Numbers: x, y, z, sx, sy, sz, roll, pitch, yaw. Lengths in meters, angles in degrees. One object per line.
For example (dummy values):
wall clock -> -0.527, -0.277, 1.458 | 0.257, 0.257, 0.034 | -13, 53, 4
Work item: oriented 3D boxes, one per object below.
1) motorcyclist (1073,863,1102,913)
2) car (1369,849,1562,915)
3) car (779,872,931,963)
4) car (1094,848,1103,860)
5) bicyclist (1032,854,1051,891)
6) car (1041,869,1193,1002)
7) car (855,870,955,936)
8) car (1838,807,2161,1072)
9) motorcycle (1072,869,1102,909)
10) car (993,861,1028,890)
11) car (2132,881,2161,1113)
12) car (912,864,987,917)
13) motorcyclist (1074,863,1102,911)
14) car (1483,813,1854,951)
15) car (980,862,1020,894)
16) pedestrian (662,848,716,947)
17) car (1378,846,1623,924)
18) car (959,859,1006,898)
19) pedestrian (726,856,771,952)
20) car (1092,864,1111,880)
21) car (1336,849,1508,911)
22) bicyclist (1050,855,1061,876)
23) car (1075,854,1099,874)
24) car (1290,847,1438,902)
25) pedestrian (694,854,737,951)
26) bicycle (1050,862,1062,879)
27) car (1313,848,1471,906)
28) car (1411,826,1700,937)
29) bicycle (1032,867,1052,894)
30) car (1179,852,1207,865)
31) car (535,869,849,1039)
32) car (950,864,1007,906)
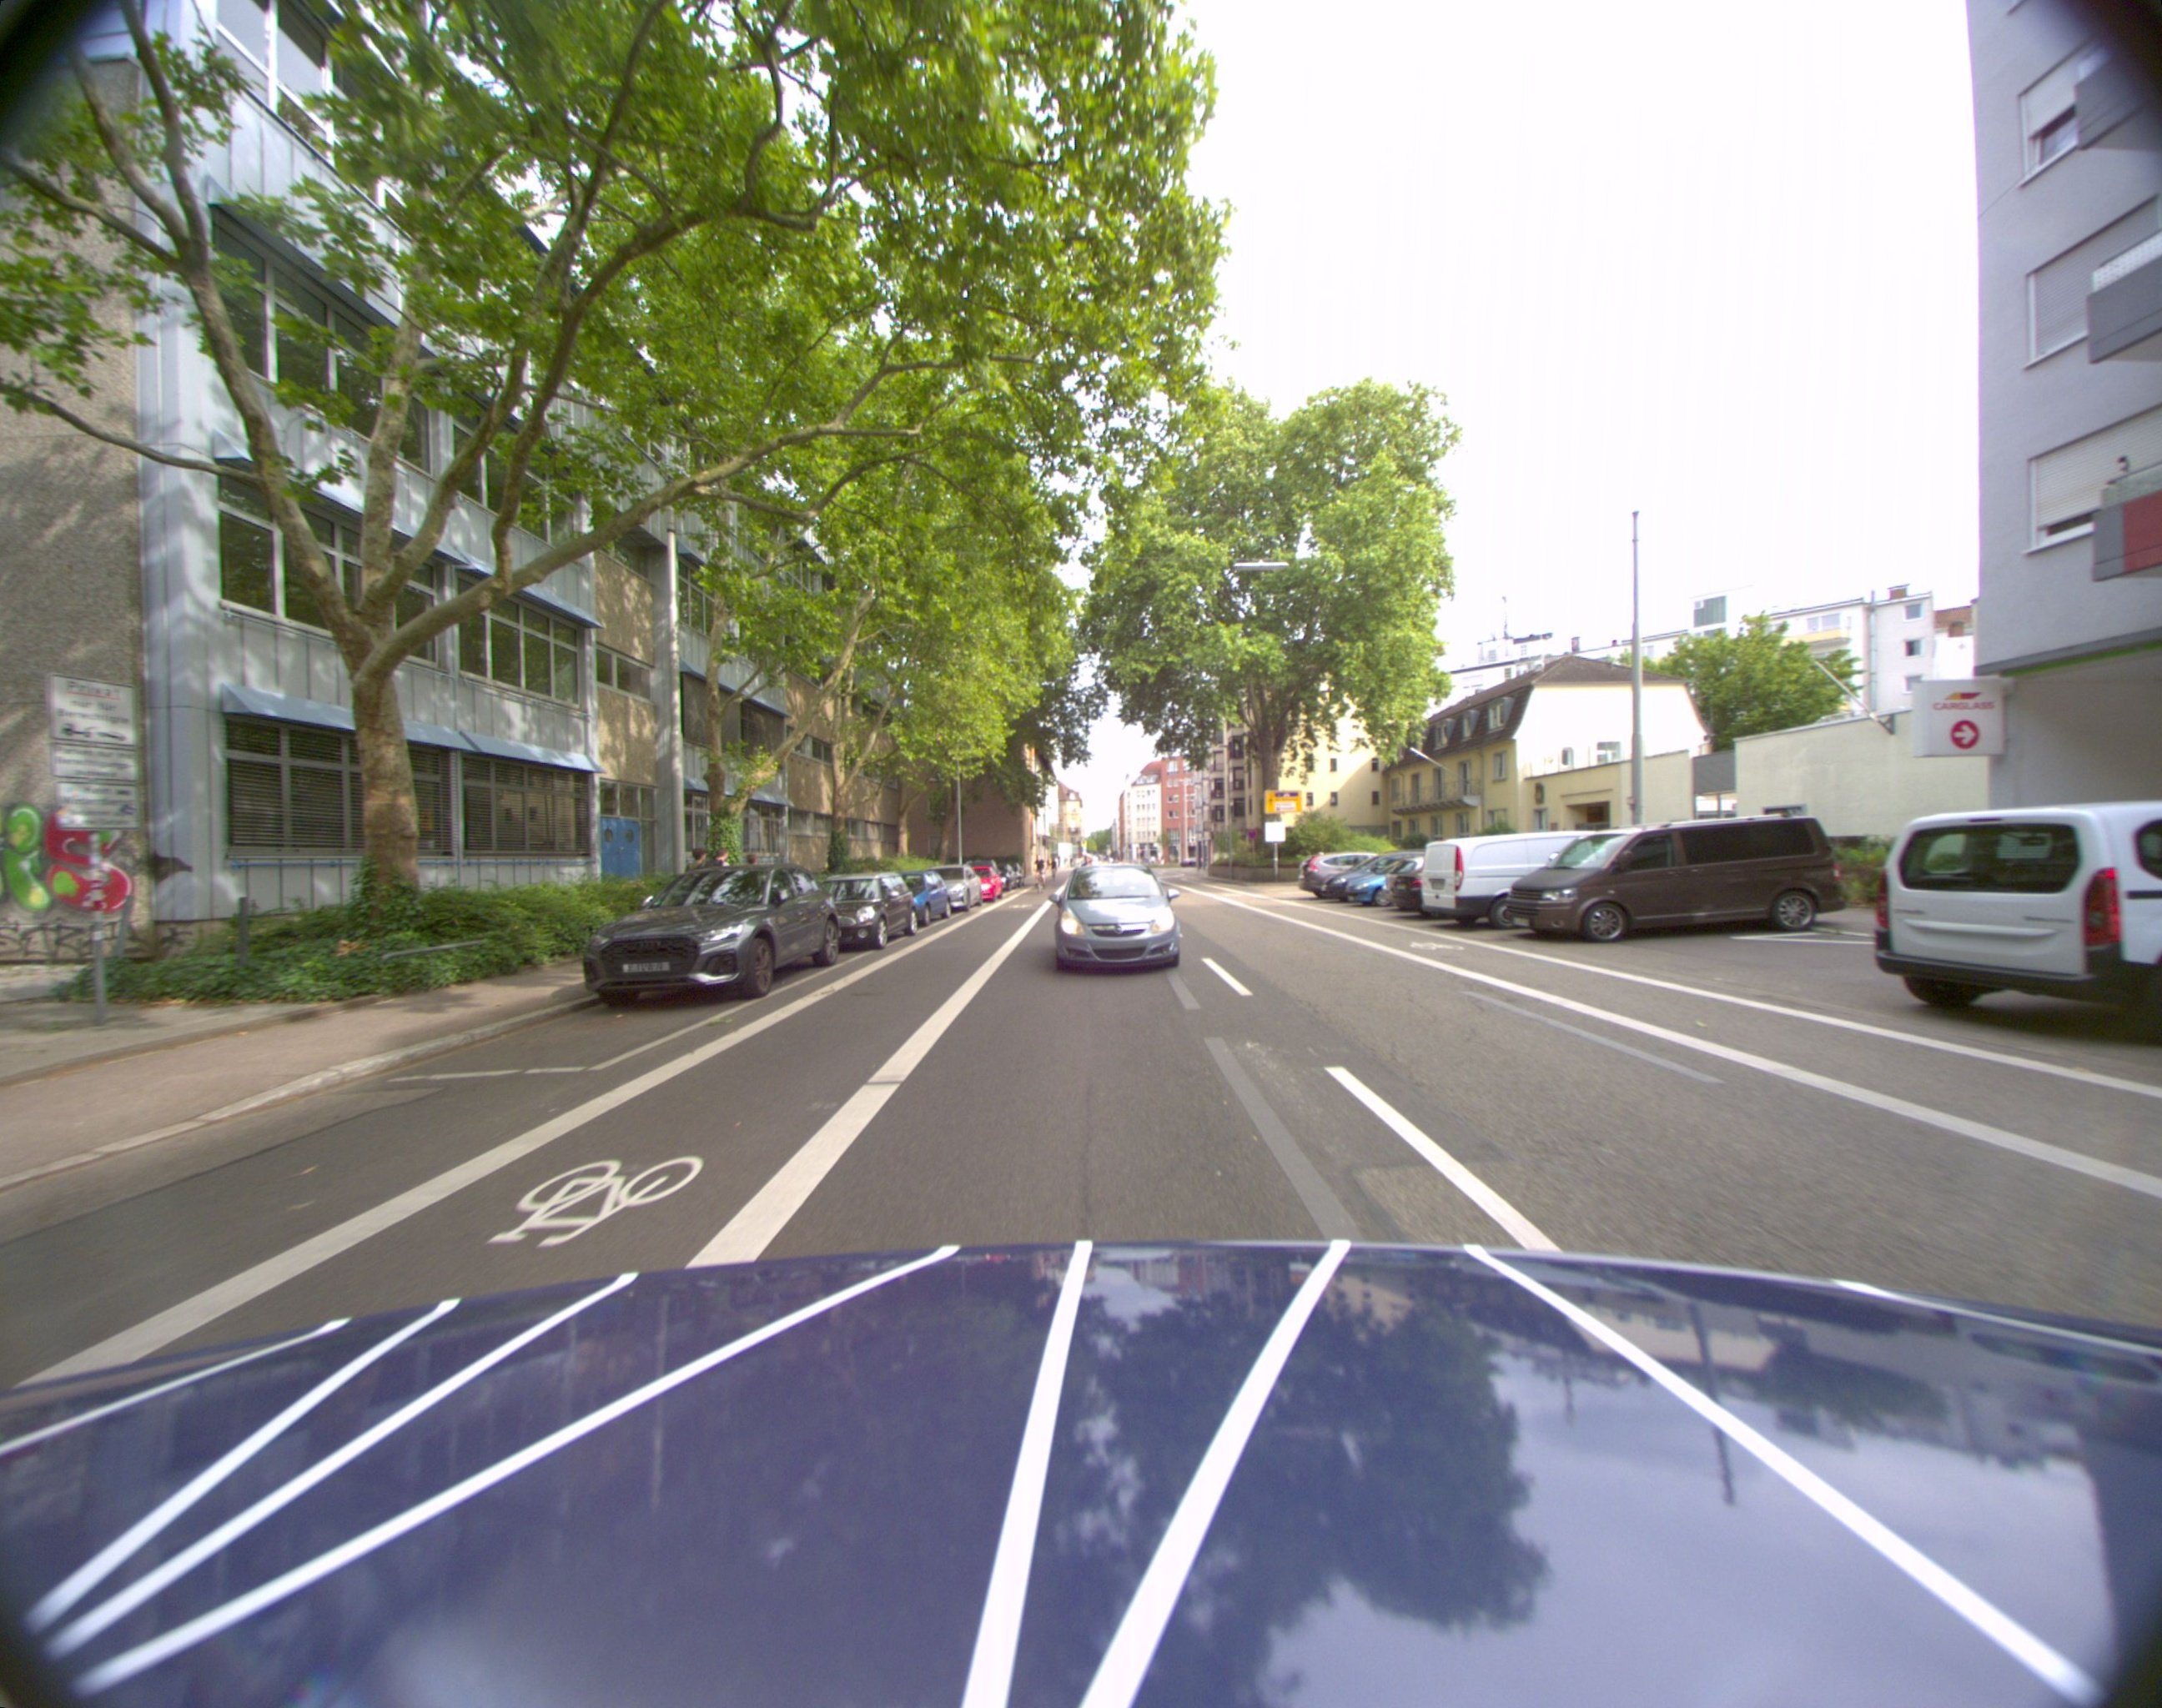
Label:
motorcyclist -> 0.217, 1.117, 25.126 | 0.904, 1.608, 0.691 | -1, 1, 0
car -> 10.196, 0.724, 20.373 | 4.203, 1.443, 1.719 | -4, 0, 2
car -> -4.445, 1.183, 15.725 | 1.643, 1.424, 4.573 | -3, 0, 1
car -> 4.062, 0.049, 175.117 | 1.998, 2.546, 4.799 | -2, 0, 1
bicyclist -> -1.861, 0.885, 36.110 | 0.764, 1.698, 0.917 | -2, 0, 1
car -> 0.446, 0.982, 10.916 | 1.716, 1.412, 4.253 | -2, 0, 1
car -> -4.547, 1.215, 20.154 | 1.602, 1.414, 3.956 | -3, 0, 1
car -> 9.501, 0.524, 6.391 | 4.221, 1.837, 1.924 | -4, 0, 1
motorcycle -> 0.211, 1.117, 25.122 | 0.904, 1.190, 2.630 | -1, 0, 0
car -> -4.206, 1.262, 45.818 | 1.602, 1.516, 3.956 | -3, 0, 1
car -> 8.842, 0.765, 3.863 | 4.281, 1.442, 1.874 | -4, 0, 1
car -> -4.318, 1.149, 25.601 | 1.602, 1.496, 4.440 | -3, 0, 1
motorcyclist -> 0.247, 1.110, 25.835 | 0.904, 1.608, 0.691 | -1, 1, 0
car -> 9.977, 0.460, 13.234 | 4.778, 1.923, 1.994 | -4, 0, 2
car -> -4.314, 1.238, 41.105 | 1.602, 1.516, 3.956 | -3, 0, 1
pedestrian -> -7.519, 0.816, 14.602 | 0.644, 1.823, 0.645 | 2, 1, 0
car -> 9.857, 0.707, 18.141 | 4.716, 1.461, 1.874 | -4, 0, 2
car -> -4.678, 1.145, 36.562 | 1.651, 1.655, 3.797 | -3, 0, 1
pedestrian -> -6.283, 0.931, 14.377 | 0.592, 1.775, 0.476 | 2, 1, 0
car -> 2.190, 1.914, 81.874 | 1.934, 1.637, 4.001 | -1, 0, 3
car -> 10.057, 0.738, 22.633 | 4.276, 1.502, 1.719 | -4, 0, 2
bicyclist -> -1.930, 0.881, 58.254 | 0.749, 1.590, 0.819 | -2, 0, 1
car -> 0.564, 0.861, 67.526 | 2.000, 1.556, 4.551 | -2, 0, 0
car -> 9.991, 0.717, 27.077 | 4.529, 1.596, 1.754 | -4, 0, 2
pedestrian -> -6.892, 0.905, 14.334 | 0.502, 1.775, 0.527 | 2, 1, 0
bicycle -> -1.926, 1.257, 58.250 | 0.763, 1.162, 1.950 | -2, 0, 1
car -> 10.044, 0.728, 24.762 | 4.372, 1.540, 1.733 | -4, 0, 2
car -> 9.614, 0.543, 15.705 | 4.627, 1.848, 1.950 | -4, 0, 2
bicycle -> -1.851, 1.242, 36.026 | 0.763, 1.162, 1.950 | -2, 0, 1
car -> 16.152, 0.671, 109.448 | 1.967, 1.660, 4.560 | -2, 0, 38
car -> -4.820, 1.108, 10.321 | 1.926, 1.612, 4.480 | -3, 0, -1
car -> -4.091, 1.205, 30.834 | 1.602, 1.438, 4.105 | -3, 0, 1
